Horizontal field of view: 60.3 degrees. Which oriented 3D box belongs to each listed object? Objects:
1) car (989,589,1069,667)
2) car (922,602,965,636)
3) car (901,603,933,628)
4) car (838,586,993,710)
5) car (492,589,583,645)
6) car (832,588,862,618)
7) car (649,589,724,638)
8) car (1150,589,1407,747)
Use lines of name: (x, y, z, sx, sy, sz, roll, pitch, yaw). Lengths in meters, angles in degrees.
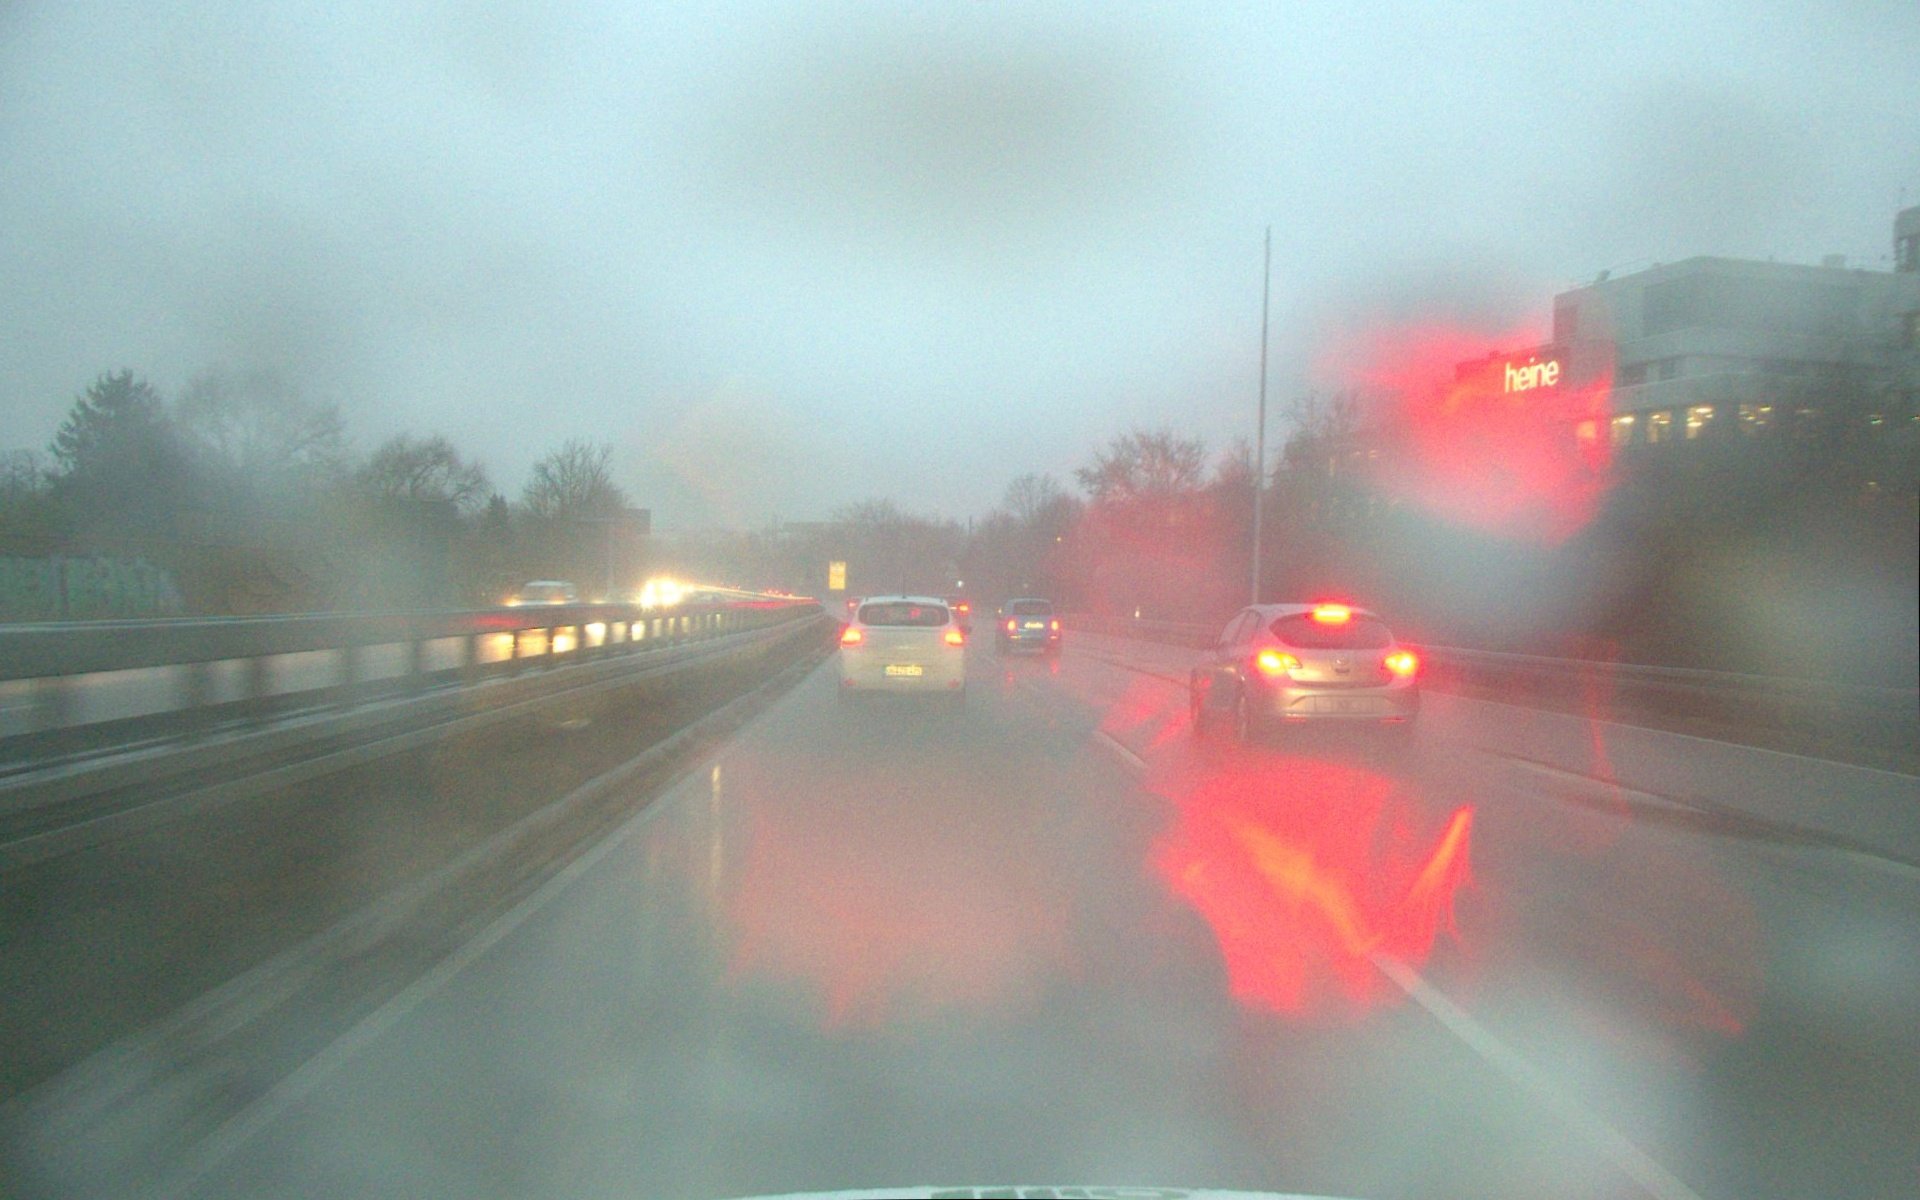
car: (1.882, 0.756, 46.244, 1.894, 2.055, 3.771, 1, 0, -3)
car: (-0.880, 0.961, 86.272, 1.895, 1.573, 3.770, -5, 0, -5)
car: (-2.864, 0.991, 109.538, 1.894, 1.573, 3.770, 1, 0, -4)
car: (-0.727, 0.633, 23.628, 1.985, 1.602, 3.996, 1, 0, -5)
car: (-13.424, 0.519, 52.812, 1.829, 1.656, 4.777, 1, 0, -2)
car: (-8.070, 0.198, 118.283, 1.953, 2.049, 3.999, 1, 0, -1)
car: (-8.907, 0.424, 54.108, 1.829, 1.475, 4.643, 1, 0, -2)
car: (3.389, 0.675, 18.431, 1.813, 1.528, 4.259, 1, 0, -3)
